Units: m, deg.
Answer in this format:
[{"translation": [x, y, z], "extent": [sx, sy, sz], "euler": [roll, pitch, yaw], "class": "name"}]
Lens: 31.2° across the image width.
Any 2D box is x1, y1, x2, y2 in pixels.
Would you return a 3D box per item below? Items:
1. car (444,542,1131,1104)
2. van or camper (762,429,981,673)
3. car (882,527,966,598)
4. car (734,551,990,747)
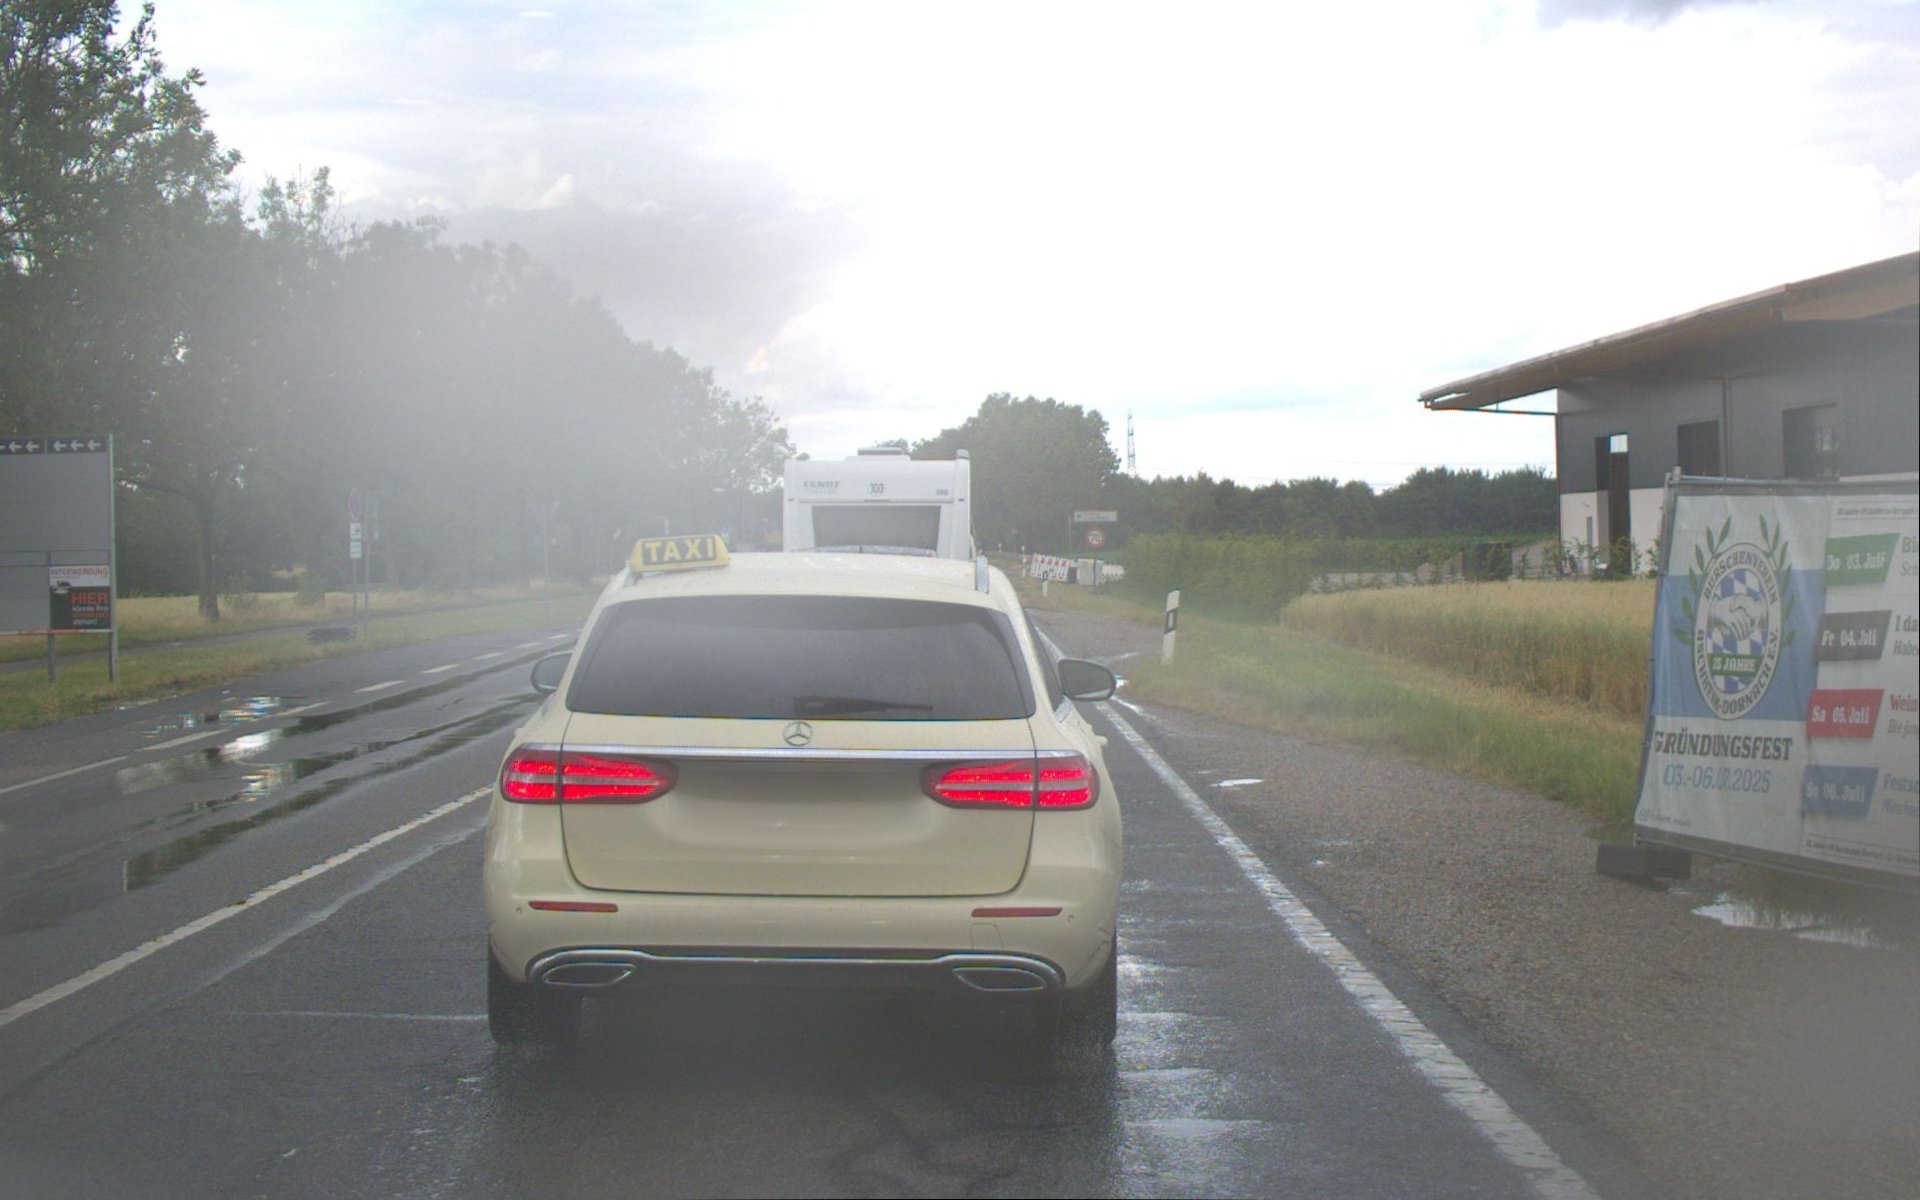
[{"translation": [-0.448, 0.551, 11.019], "extent": [1.797, 1.459, 4.031], "euler": [0, 1, 0], "class": "car"}, {"translation": [-1.034, -0.632, 43.951], "extent": [2.497, 2.821, 5.934], "euler": [-2, 1, 1], "class": "van or camper"}, {"translation": [-0.845, -0.881, 79.429], "extent": [1.894, 1.585, 3.928], "euler": [0, 1, -1], "class": "car"}, {"translation": [-0.762, 0.337, 27.521], "extent": [1.894, 1.424, 3.928], "euler": [0, 1, -1], "class": "car"}]
